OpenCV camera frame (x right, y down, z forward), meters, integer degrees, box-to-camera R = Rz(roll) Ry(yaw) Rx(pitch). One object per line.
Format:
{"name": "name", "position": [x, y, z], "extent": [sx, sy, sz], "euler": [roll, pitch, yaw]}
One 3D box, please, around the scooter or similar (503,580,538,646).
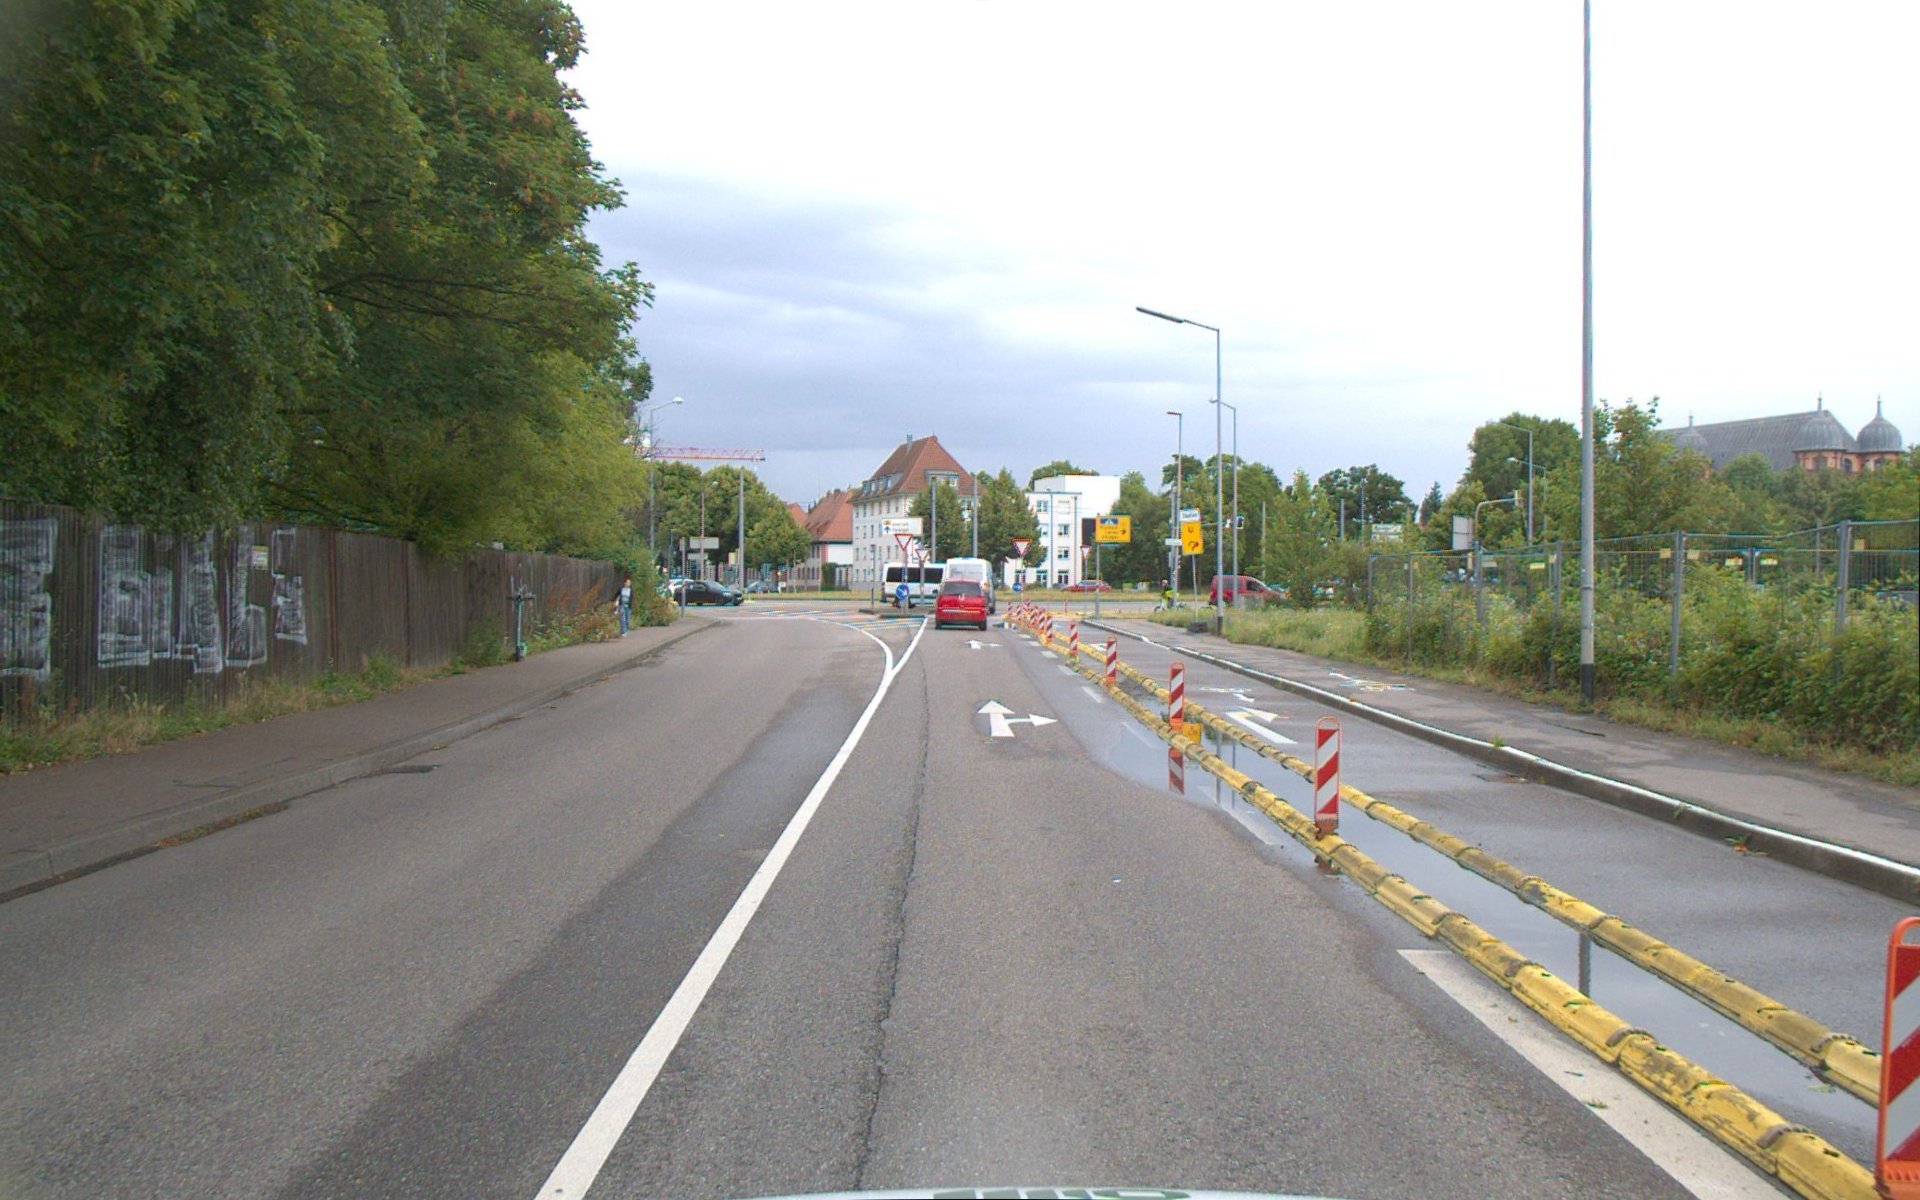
{"name": "scooter or similar", "position": [-8.096, 0.225, 30.489], "extent": [0.414, 1.191, 1.302], "euler": [0, 1, -5]}

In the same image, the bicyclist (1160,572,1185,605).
{"name": "bicyclist", "position": [9.307, -0.496, 72.578], "extent": [1.039, 1.426, 0.615], "euler": [0, 0, 2]}

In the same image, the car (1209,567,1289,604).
{"name": "car", "position": [15.224, -0.770, 87.078], "extent": [4.105, 1.951, 2.117], "euler": [0, 1, 11]}

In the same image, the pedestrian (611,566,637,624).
{"name": "pedestrian", "position": [-9.069, -0.142, 44.640], "extent": [0.600, 1.556, 0.723], "euler": [0, 0, -5]}

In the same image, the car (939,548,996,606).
{"name": "car", "position": [0.389, -1.062, 77.027], "extent": [2.149, 2.584, 4.966], "euler": [1, 1, 6]}

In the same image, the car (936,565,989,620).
{"name": "car", "position": [0.079, -0.263, 53.524], "extent": [1.639, 1.669, 3.627], "euler": [1, 1, 0]}

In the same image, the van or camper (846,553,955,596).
{"name": "van or camper", "position": [-3.060, -1.321, 85.798], "extent": [5.417, 2.152, 2.002], "euler": [0, 1, 6]}

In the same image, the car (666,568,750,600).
{"name": "car", "position": [-14.285, -0.899, 93.771], "extent": [4.267, 1.780, 2.002], "euler": [0, 1, 10]}

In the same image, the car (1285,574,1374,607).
{"name": "car", "position": [20.960, -0.549, 93.891], "extent": [4.524, 1.826, 2.104], "euler": [1, 1, 41]}
